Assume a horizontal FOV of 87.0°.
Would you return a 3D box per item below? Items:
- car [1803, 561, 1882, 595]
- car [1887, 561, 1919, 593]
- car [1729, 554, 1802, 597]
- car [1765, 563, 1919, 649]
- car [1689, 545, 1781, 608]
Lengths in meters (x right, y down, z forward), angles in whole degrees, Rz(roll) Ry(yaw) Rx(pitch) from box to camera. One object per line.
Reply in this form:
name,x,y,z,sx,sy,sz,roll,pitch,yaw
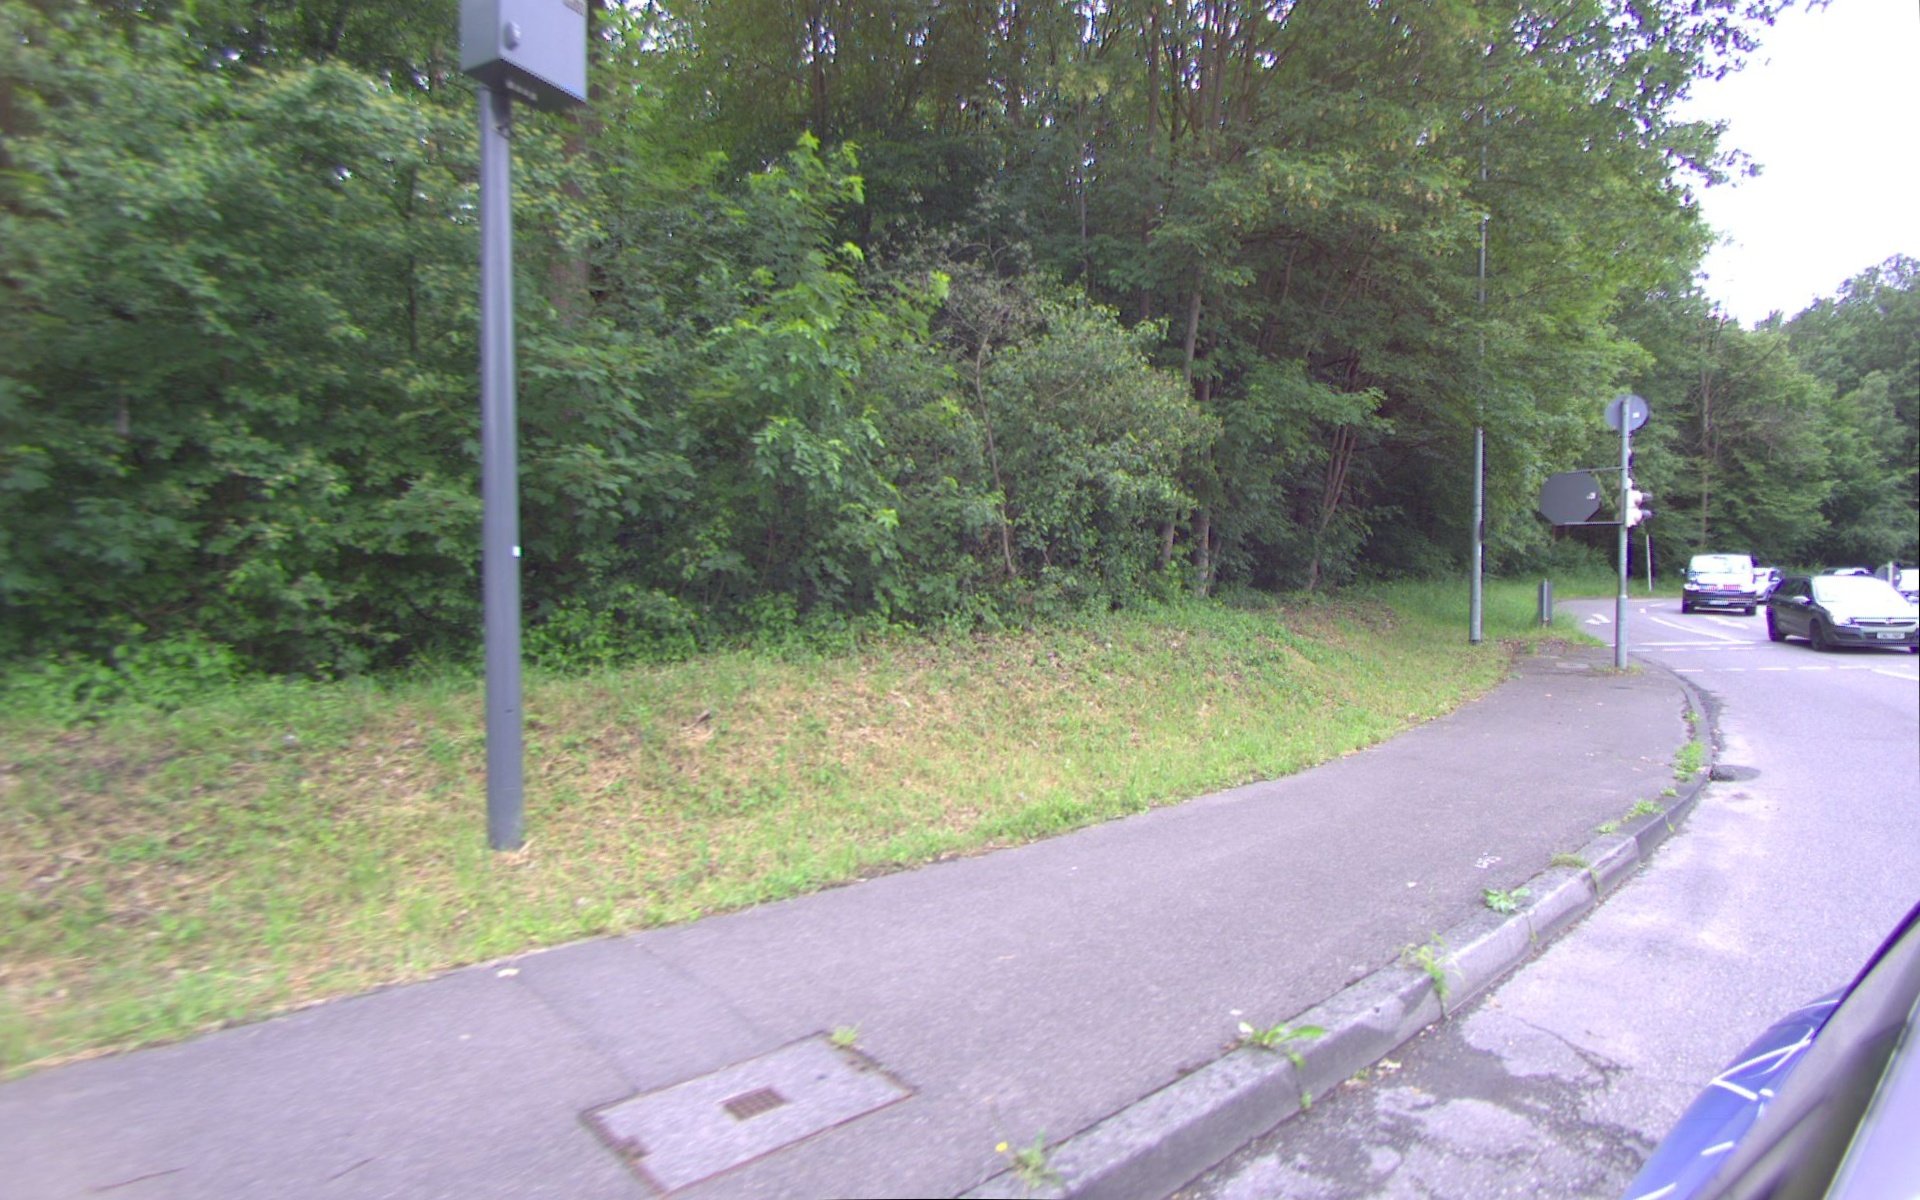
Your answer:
car,41.192,-1.055,47.207,3.798,1.518,1.781,-1,3,-33
car,47.217,-1.133,49.541,3.798,1.518,1.781,-1,3,-33
car,33.189,-1.026,41.646,3.924,1.694,1.791,-2,3,-43
car,17.927,0.034,20.254,1.785,1.497,4.434,2,3,25
car,25.047,-0.811,32.852,1.978,1.895,4.478,2,3,33
